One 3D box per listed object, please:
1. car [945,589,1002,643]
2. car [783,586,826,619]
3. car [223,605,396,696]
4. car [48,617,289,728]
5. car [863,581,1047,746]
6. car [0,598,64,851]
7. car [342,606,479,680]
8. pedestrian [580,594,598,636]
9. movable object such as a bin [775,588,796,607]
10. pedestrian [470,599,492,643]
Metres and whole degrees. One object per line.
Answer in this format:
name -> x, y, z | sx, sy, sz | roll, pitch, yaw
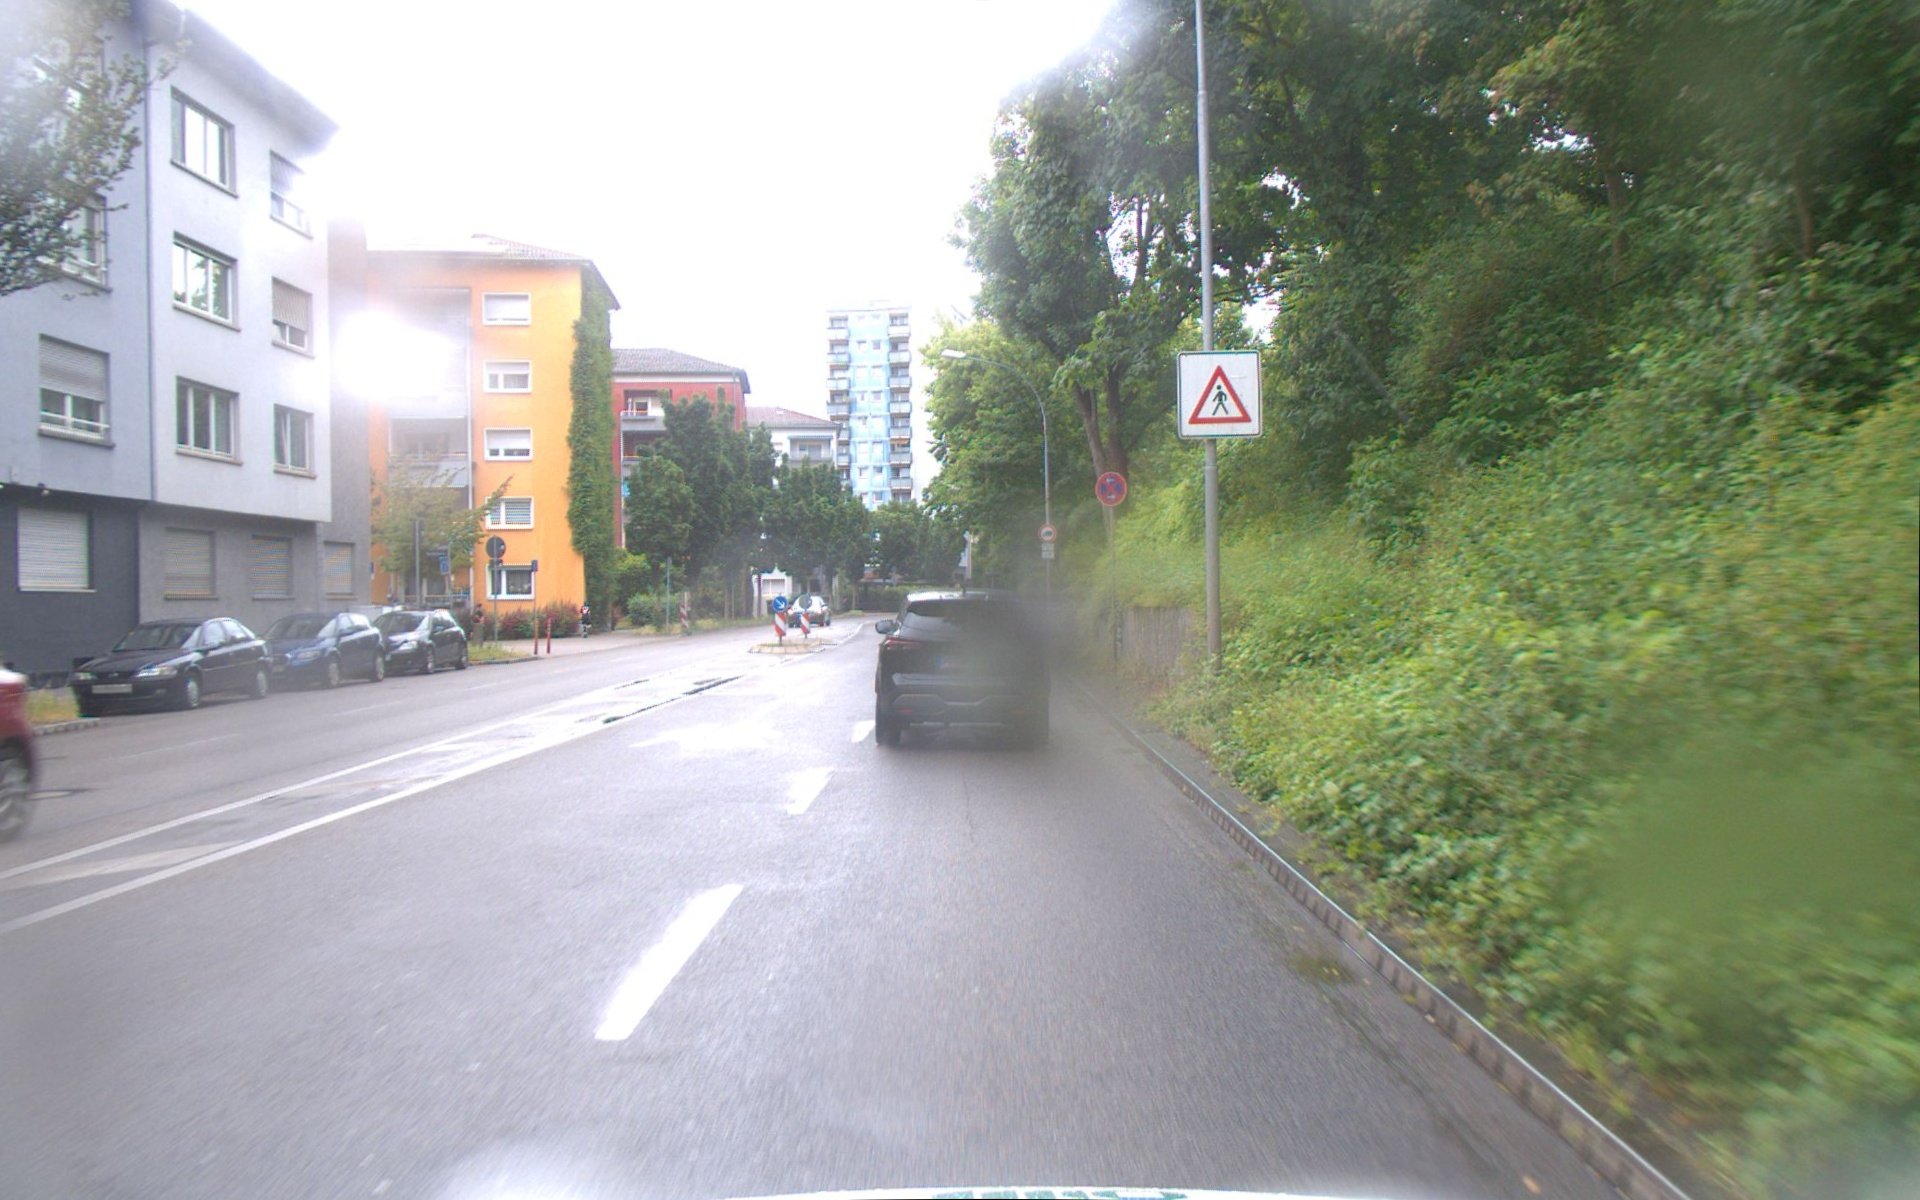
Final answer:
car -> 0.428, 0.528, 56.363 | 1.848, 1.741, 3.999 | -1, 0, -1
car -> -7.716, 0.098, 82.481 | 1.752, 1.530, 4.647 | -3, 1, -2
car -> -12.481, 0.922, 32.020 | 1.647, 1.474, 4.275 | -4, 1, -1
car -> -12.439, 1.074, 26.338 | 1.655, 1.381, 4.577 | -4, 1, -2
car -> -0.094, 0.604, 18.196 | 1.807, 1.610, 3.999 | 0, 1, -1
car -> -6.540, 0.781, 8.759 | 1.672, 1.504, 3.678 | -2, 0, -3
car -> -12.554, 0.947, 38.071 | 1.678, 1.450, 4.322 | -3, 1, -1
pedestrian -> -15.025, 0.600, 66.997 | 0.597, 1.703, 0.594 | -2, 0, -3
movable object such as a bin -> -12.686, -0.187, 120.377 | 1.294, 1.385, 1.258 | -2, 0, 1
pedestrian -> -18.159, 0.807, 62.704 | 0.574, 1.632, 0.661 | -3, 0, 1
